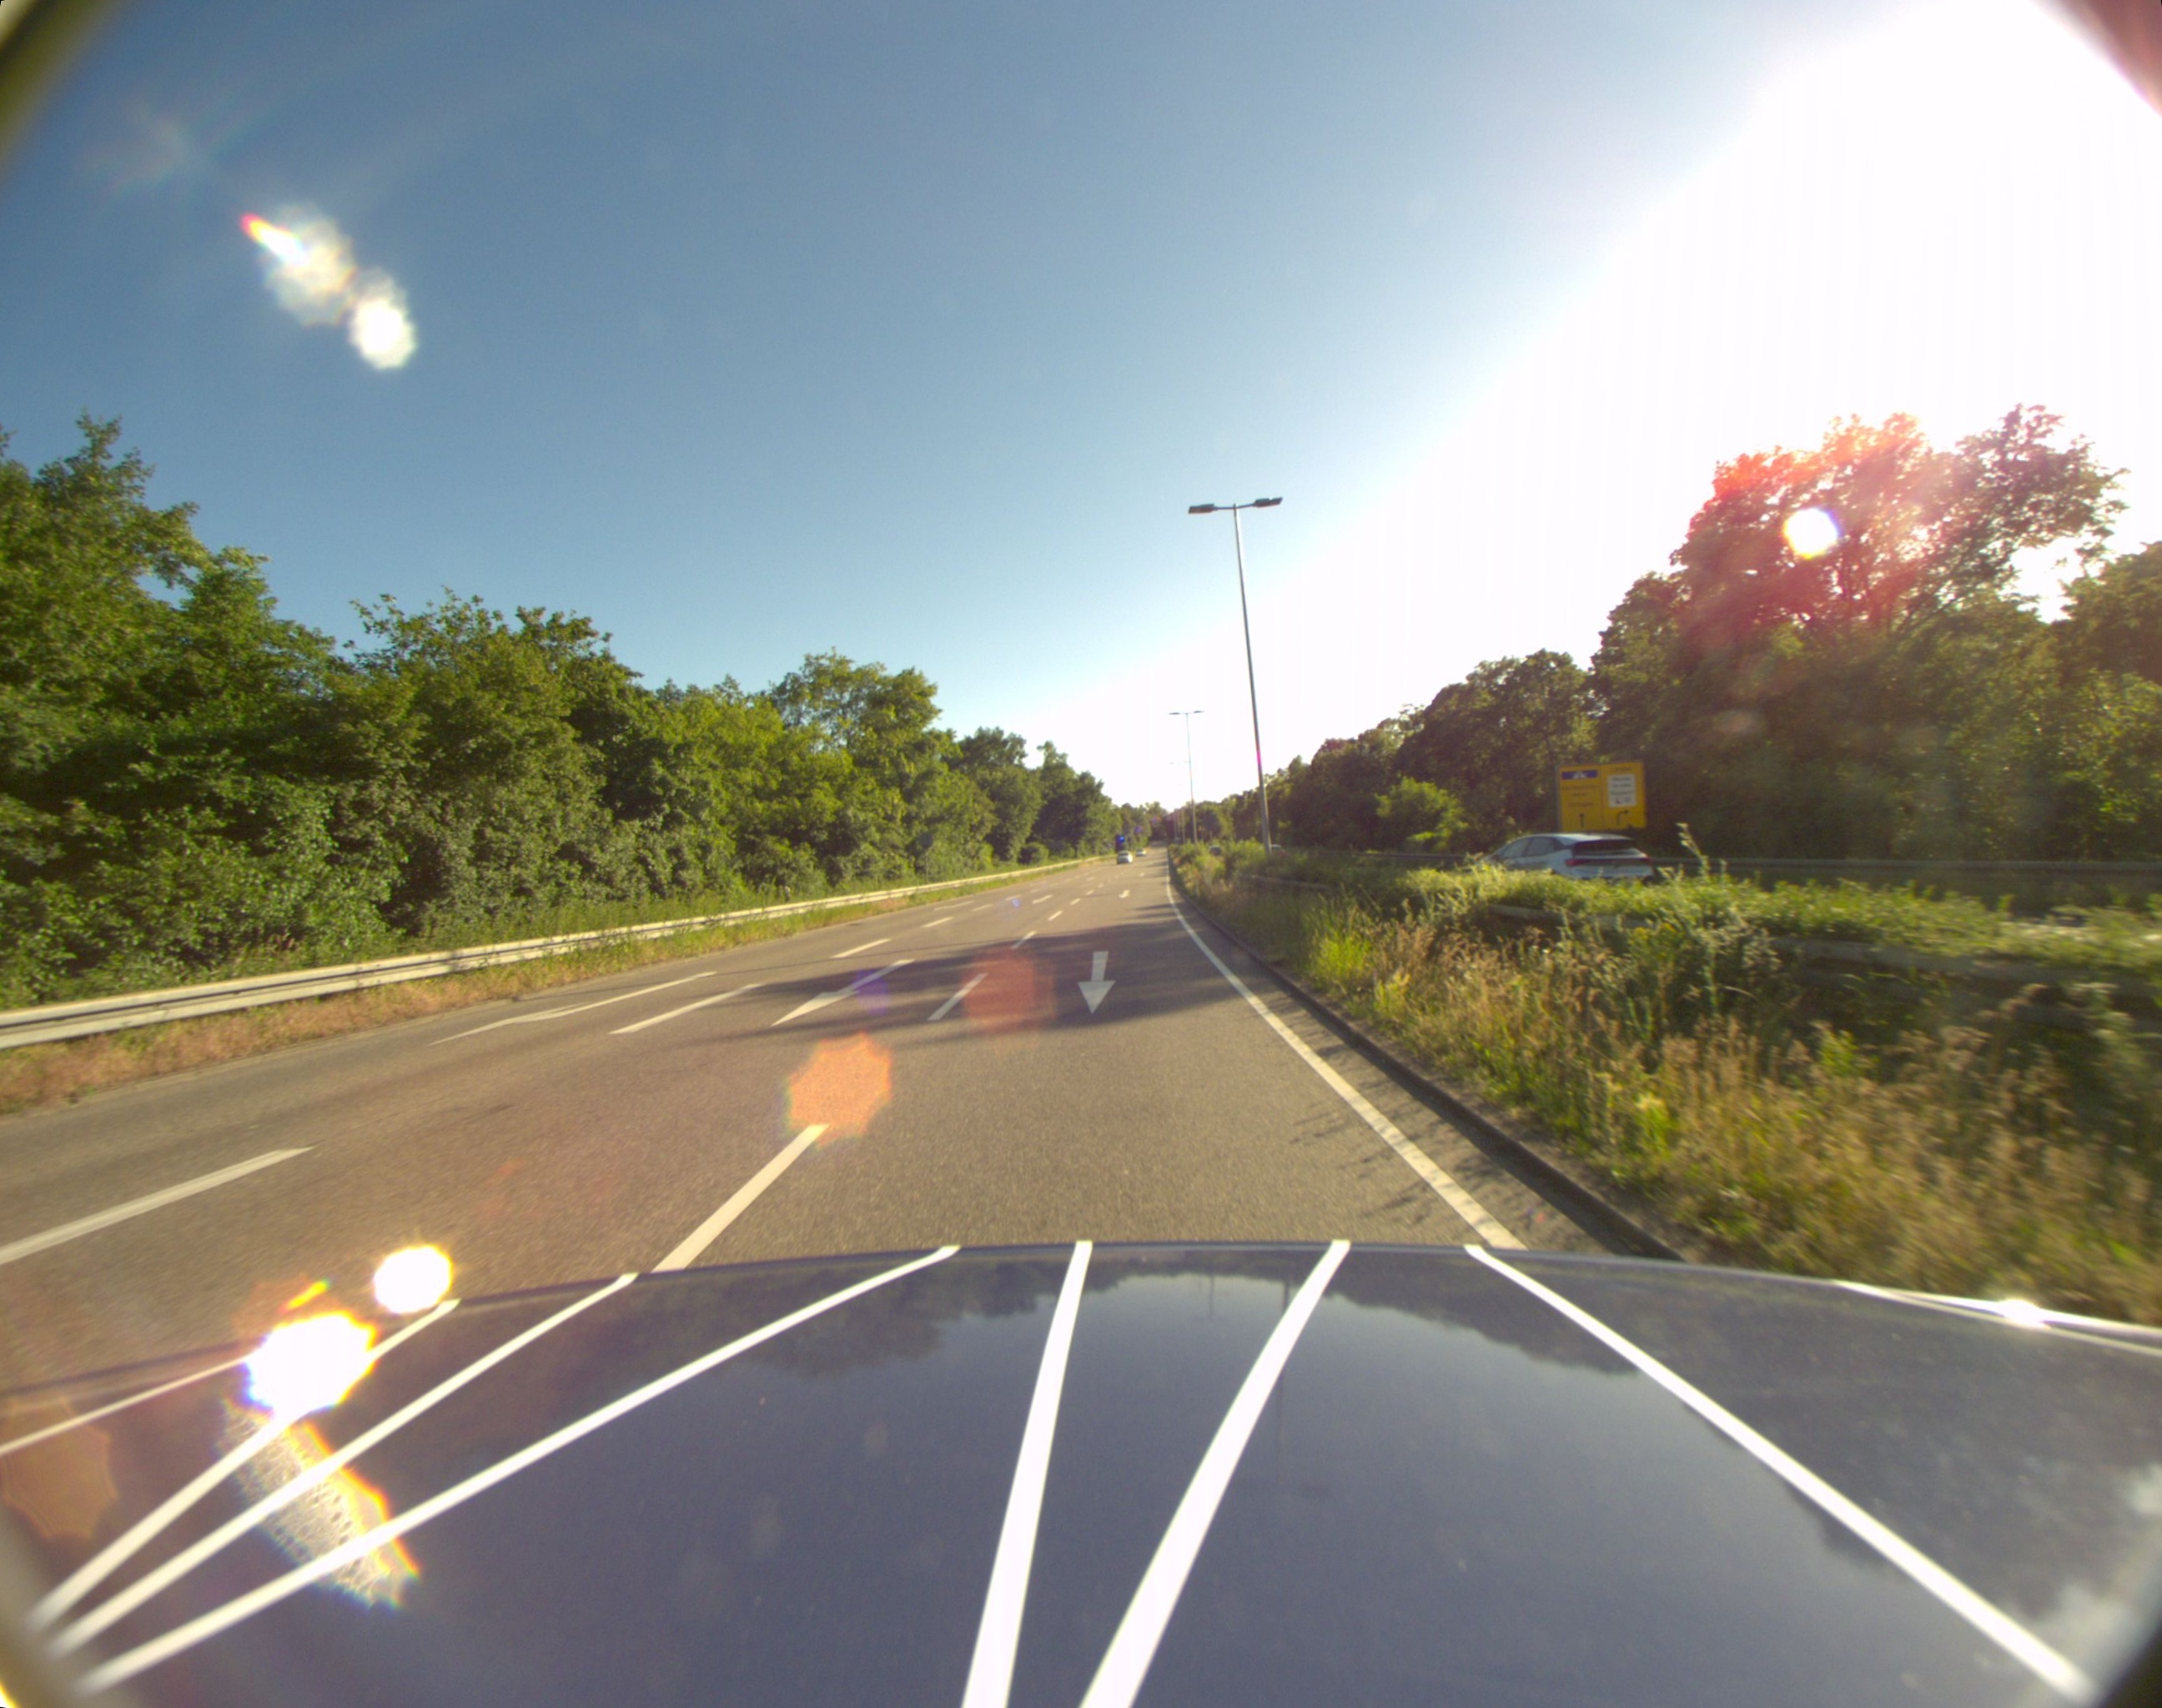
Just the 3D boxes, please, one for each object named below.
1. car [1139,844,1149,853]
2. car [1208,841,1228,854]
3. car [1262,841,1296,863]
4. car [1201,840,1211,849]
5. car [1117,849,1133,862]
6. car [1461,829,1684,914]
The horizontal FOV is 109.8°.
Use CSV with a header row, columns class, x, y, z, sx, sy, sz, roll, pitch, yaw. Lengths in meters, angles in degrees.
class,x,y,z,sx,sy,sz,roll,pitch,yaw
car,12.367,-1.084,149.101,1.909,1.477,3.346,-3,0,5
car,16.347,-0.768,90.713,1.809,1.408,4.532,-3,1,4
car,14.016,-0.156,54.104,1.889,1.412,4.367,-2,1,9
car,23.779,-1.759,144.885,1.690,1.677,3.624,-3,0,7
car,5.360,0.155,92.230,1.681,1.477,3.391,-3,0,5
car,10.311,0.334,16.395,1.890,1.511,4.215,-3,0,-3
